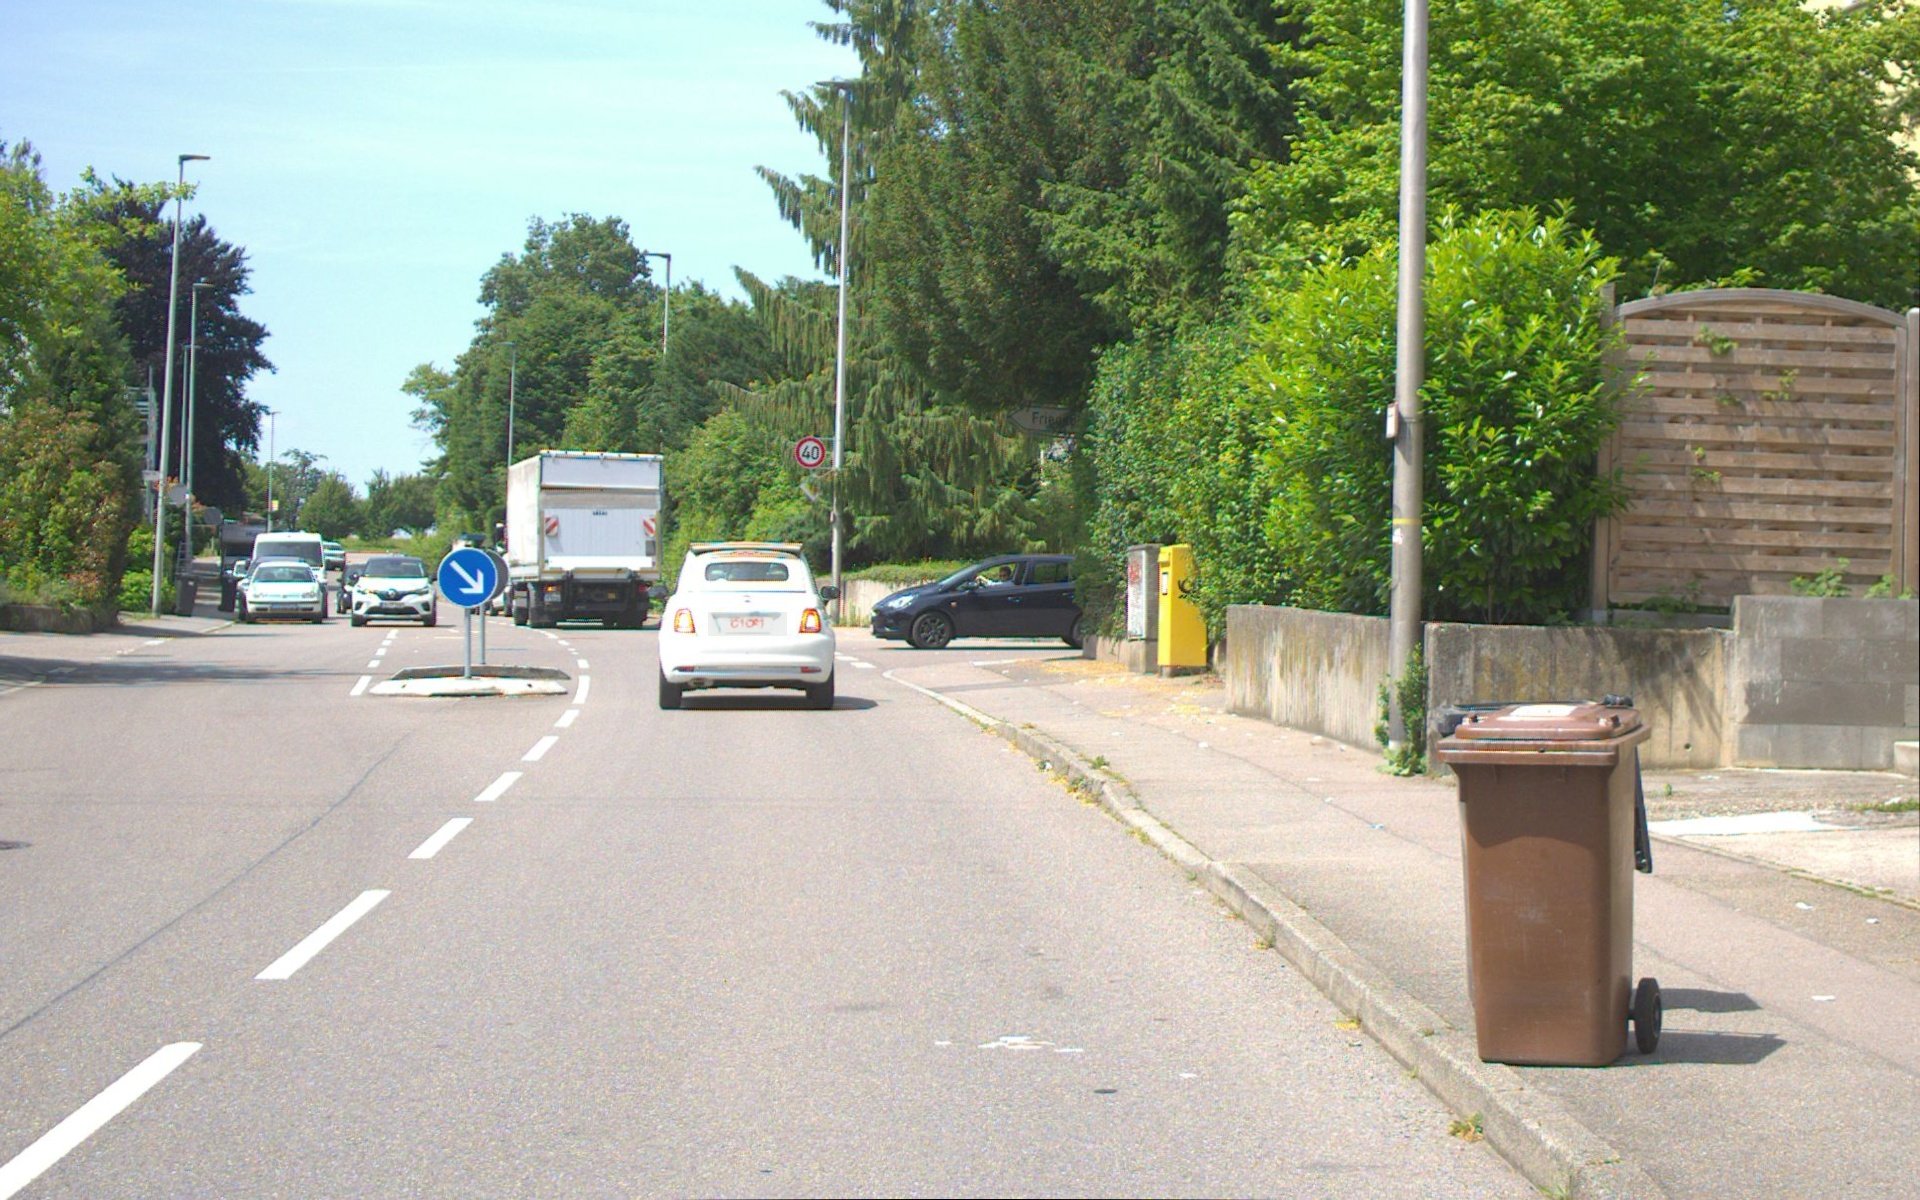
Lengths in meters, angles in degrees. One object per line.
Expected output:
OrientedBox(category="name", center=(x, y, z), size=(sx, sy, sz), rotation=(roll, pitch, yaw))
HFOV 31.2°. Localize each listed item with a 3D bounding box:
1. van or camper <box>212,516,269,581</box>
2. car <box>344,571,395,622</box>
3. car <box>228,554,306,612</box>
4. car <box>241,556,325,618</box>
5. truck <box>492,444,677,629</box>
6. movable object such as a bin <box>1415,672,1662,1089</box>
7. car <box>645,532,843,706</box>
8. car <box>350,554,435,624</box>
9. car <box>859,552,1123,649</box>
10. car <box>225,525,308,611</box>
OrientedBox(category="van or camper", center=(-34.651, -2.481, 165.631), size=(2.264, 2.952, 5.890), rotation=(2, 0, -9))
OrientedBox(category="car", center=(-17.814, -0.118, 103.640), size=(1.480, 1.505, 2.801), rotation=(0, 1, -10))
OrientedBox(category="car", center=(-17.329, -0.423, 85.863), size=(1.804, 1.393, 3.969), rotation=(1, 0, -13))
OrientedBox(category="car", center=(-15.859, -0.327, 80.438), size=(1.804, 1.393, 4.001), rotation=(1, 0, -13))
OrientedBox(category="truck", center=(-8.187, -1.314, 74.171), size=(3.067, 3.761, 7.870), rotation=(1, 0, -13))
OrientedBox(category="movable object such as a bin", center=(1.528, 0.726, 9.043), size=(0.495, 1.030, 0.548), rotation=(-3, 1, 21))
OrientedBox(category="car", center=(-2.118, 0.148, 32.849), size=(1.724, 1.555, 4.001), rotation=(0, 1, -6))
OrientedBox(category="car", center=(-12.639, -0.246, 76.756), size=(1.782, 1.524, 4.172), rotation=(0, 0, -8))
OrientedBox(category="car", center=(0.464, 0.003, 53.815), size=(3.932, 1.453, 1.659), rotation=(0, 0, -7))
OrientedBox(category="car", center=(-18.473, -0.853, 91.413), size=(2.036, 2.192, 5.584), rotation=(1, 0, -13))
